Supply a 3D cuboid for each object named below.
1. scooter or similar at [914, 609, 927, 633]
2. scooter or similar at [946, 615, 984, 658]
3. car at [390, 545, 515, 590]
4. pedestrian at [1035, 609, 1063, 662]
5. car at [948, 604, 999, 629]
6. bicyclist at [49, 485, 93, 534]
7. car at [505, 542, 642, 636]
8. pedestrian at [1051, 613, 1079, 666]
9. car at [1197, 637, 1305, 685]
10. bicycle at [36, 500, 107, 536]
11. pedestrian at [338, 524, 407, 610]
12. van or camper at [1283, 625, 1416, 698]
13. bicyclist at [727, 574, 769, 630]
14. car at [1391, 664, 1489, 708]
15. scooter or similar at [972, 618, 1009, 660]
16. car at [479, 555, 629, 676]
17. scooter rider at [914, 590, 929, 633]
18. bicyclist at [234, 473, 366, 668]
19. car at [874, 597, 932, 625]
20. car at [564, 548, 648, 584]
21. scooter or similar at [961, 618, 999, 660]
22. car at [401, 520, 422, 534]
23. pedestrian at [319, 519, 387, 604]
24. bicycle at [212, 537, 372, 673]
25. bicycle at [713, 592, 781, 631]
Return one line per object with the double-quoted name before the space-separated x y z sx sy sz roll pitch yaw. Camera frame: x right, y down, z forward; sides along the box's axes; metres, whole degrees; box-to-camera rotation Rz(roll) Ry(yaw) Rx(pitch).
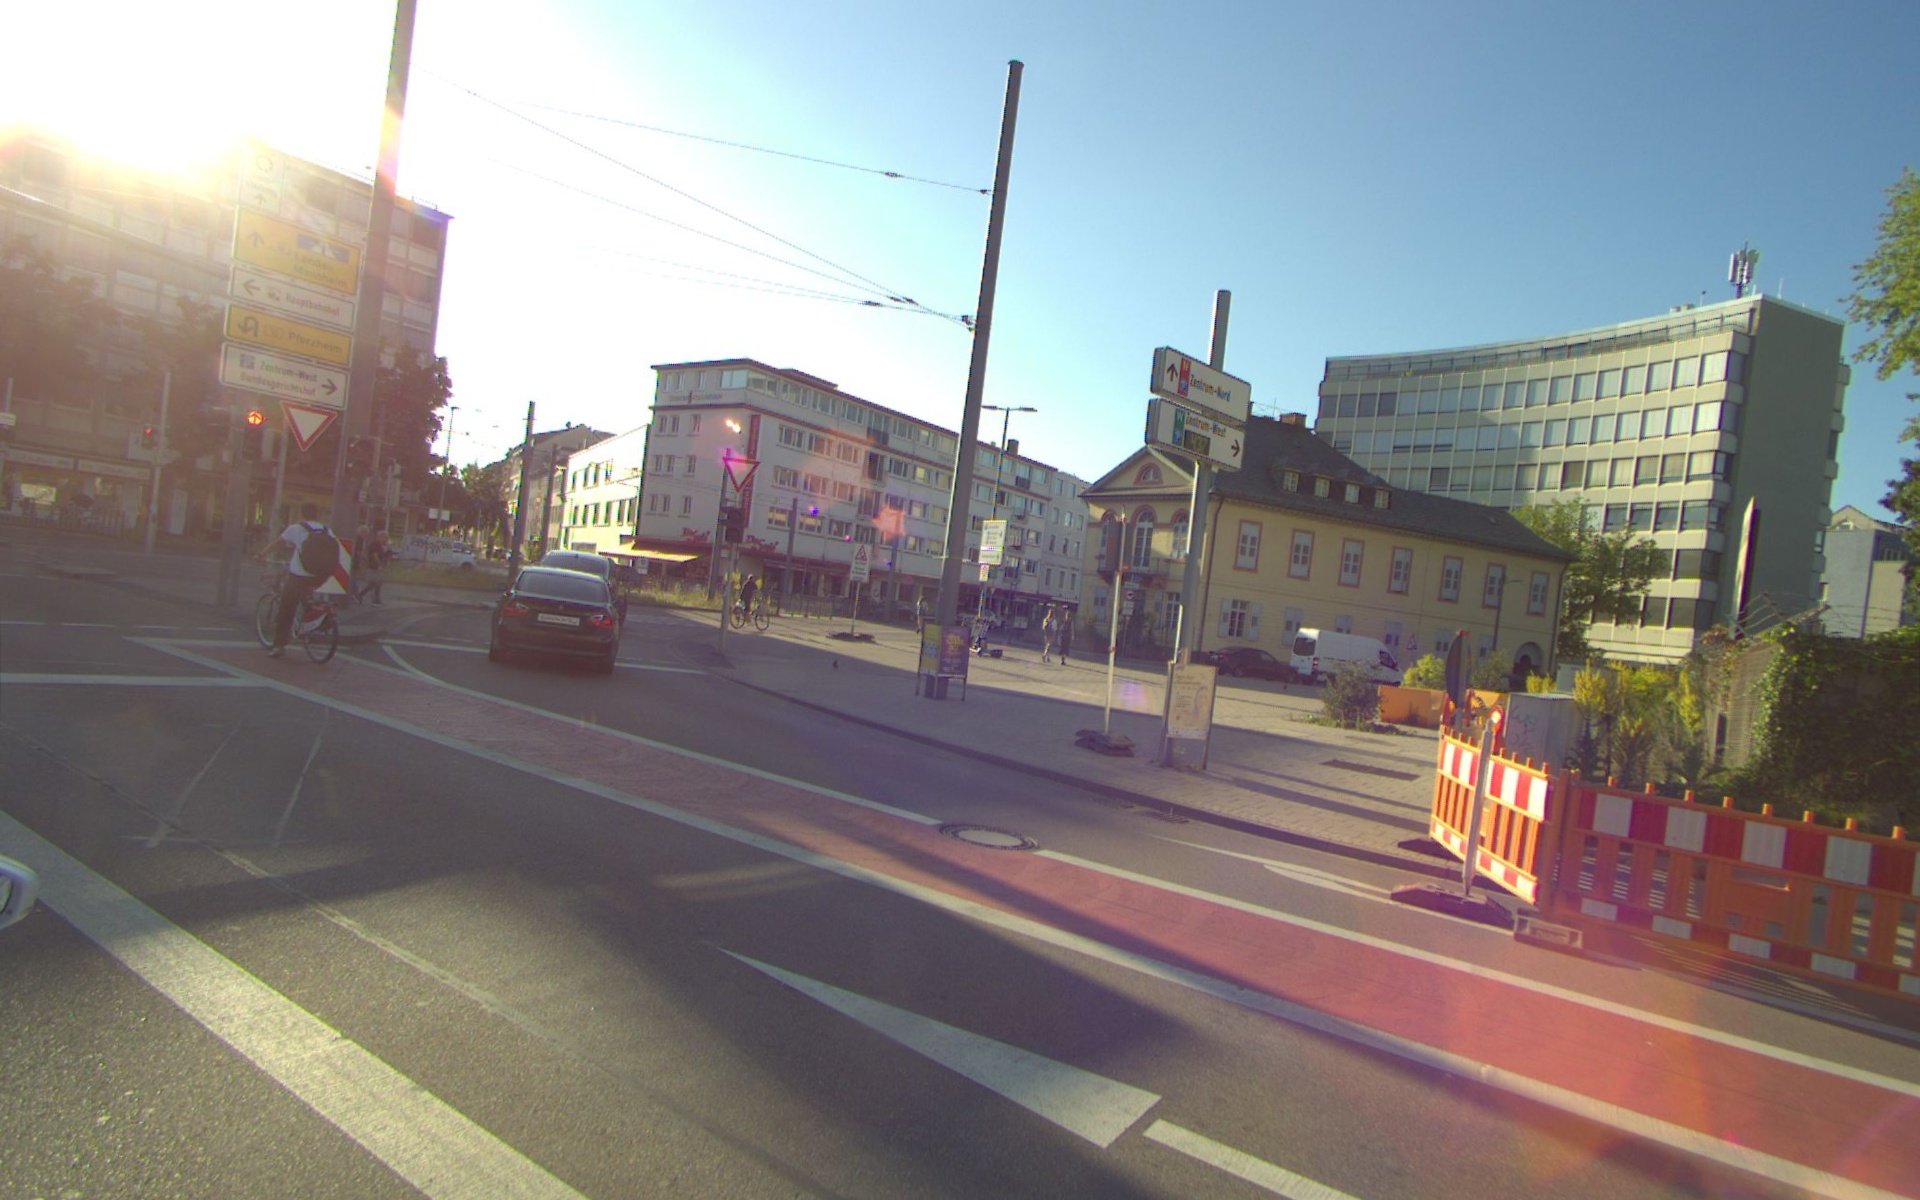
"scooter or similar" -1.837 0.967 46.808 0.485 1.046 1.386 7 0 -3
"scooter or similar" 0.166 1.223 33.709 0.563 1.274 1.334 6 0 -28
"car" -24.057 -1.515 47.858 1.967 1.497 4.926 7 0 32
"pedestrian" 3.236 1.308 36.493 0.587 1.847 0.728 7 1 23
"car" 1.190 1.435 85.249 1.970 1.597 4.307 7 0 39
"bicyclist" -35.952 -3.655 40.707 0.666 1.760 1.042 7 1 28
"car" -8.859 -0.252 23.436 1.967 1.713 3.993 9 -1 -9
"pedestrian" 3.747 1.415 35.952 0.587 1.847 0.728 7 1 23
"car" 13.021 2.723 45.099 4.102 1.593 1.992 7 0 -18
"bicycle" -35.972 -3.313 40.758 0.665 1.112 1.976 7 0 28
"pedestrian" -11.939 -0.661 20.456 0.644 1.617 0.879 7 1 30
"van or camper" 18.145 2.861 46.903 5.524 2.668 1.992 7 0 -18
"bicyclist" -6.882 0.060 32.657 0.680 1.682 0.959 7 0 35
"car" 23.410 4.188 49.094 3.942 1.593 1.992 7 0 -18
"scooter or similar" 1.048 1.329 34.596 0.563 1.274 1.334 6 0 -28
"car" -6.188 0.154 15.377 1.726 1.444 3.979 7 0 -22
"scooter rider" -1.792 0.516 46.822 0.492 1.944 0.533 7 1 -3
"bicyclist" -7.510 -0.337 11.447 1.049 2.037 0.644 9 0 33
"car" -4.349 0.847 77.499 1.970 1.597 4.307 7 0 39
"car" -19.857 -1.876 56.556 1.968 1.437 3.989 7 0 35
"scooter or similar" 0.662 1.300 34.026 0.563 1.274 1.334 6 0 -28
"car" -65.106 -8.639 119.419 1.979 1.415 3.967 7 0 -31
"pedestrian" -12.592 -0.790 20.871 0.644 1.617 0.879 7 1 30
"bicycle" -7.652 0.037 11.491 2.014 1.238 0.645 9 0 33
"bicycle" -6.900 0.375 32.691 0.671 1.039 2.227 7 0 35
